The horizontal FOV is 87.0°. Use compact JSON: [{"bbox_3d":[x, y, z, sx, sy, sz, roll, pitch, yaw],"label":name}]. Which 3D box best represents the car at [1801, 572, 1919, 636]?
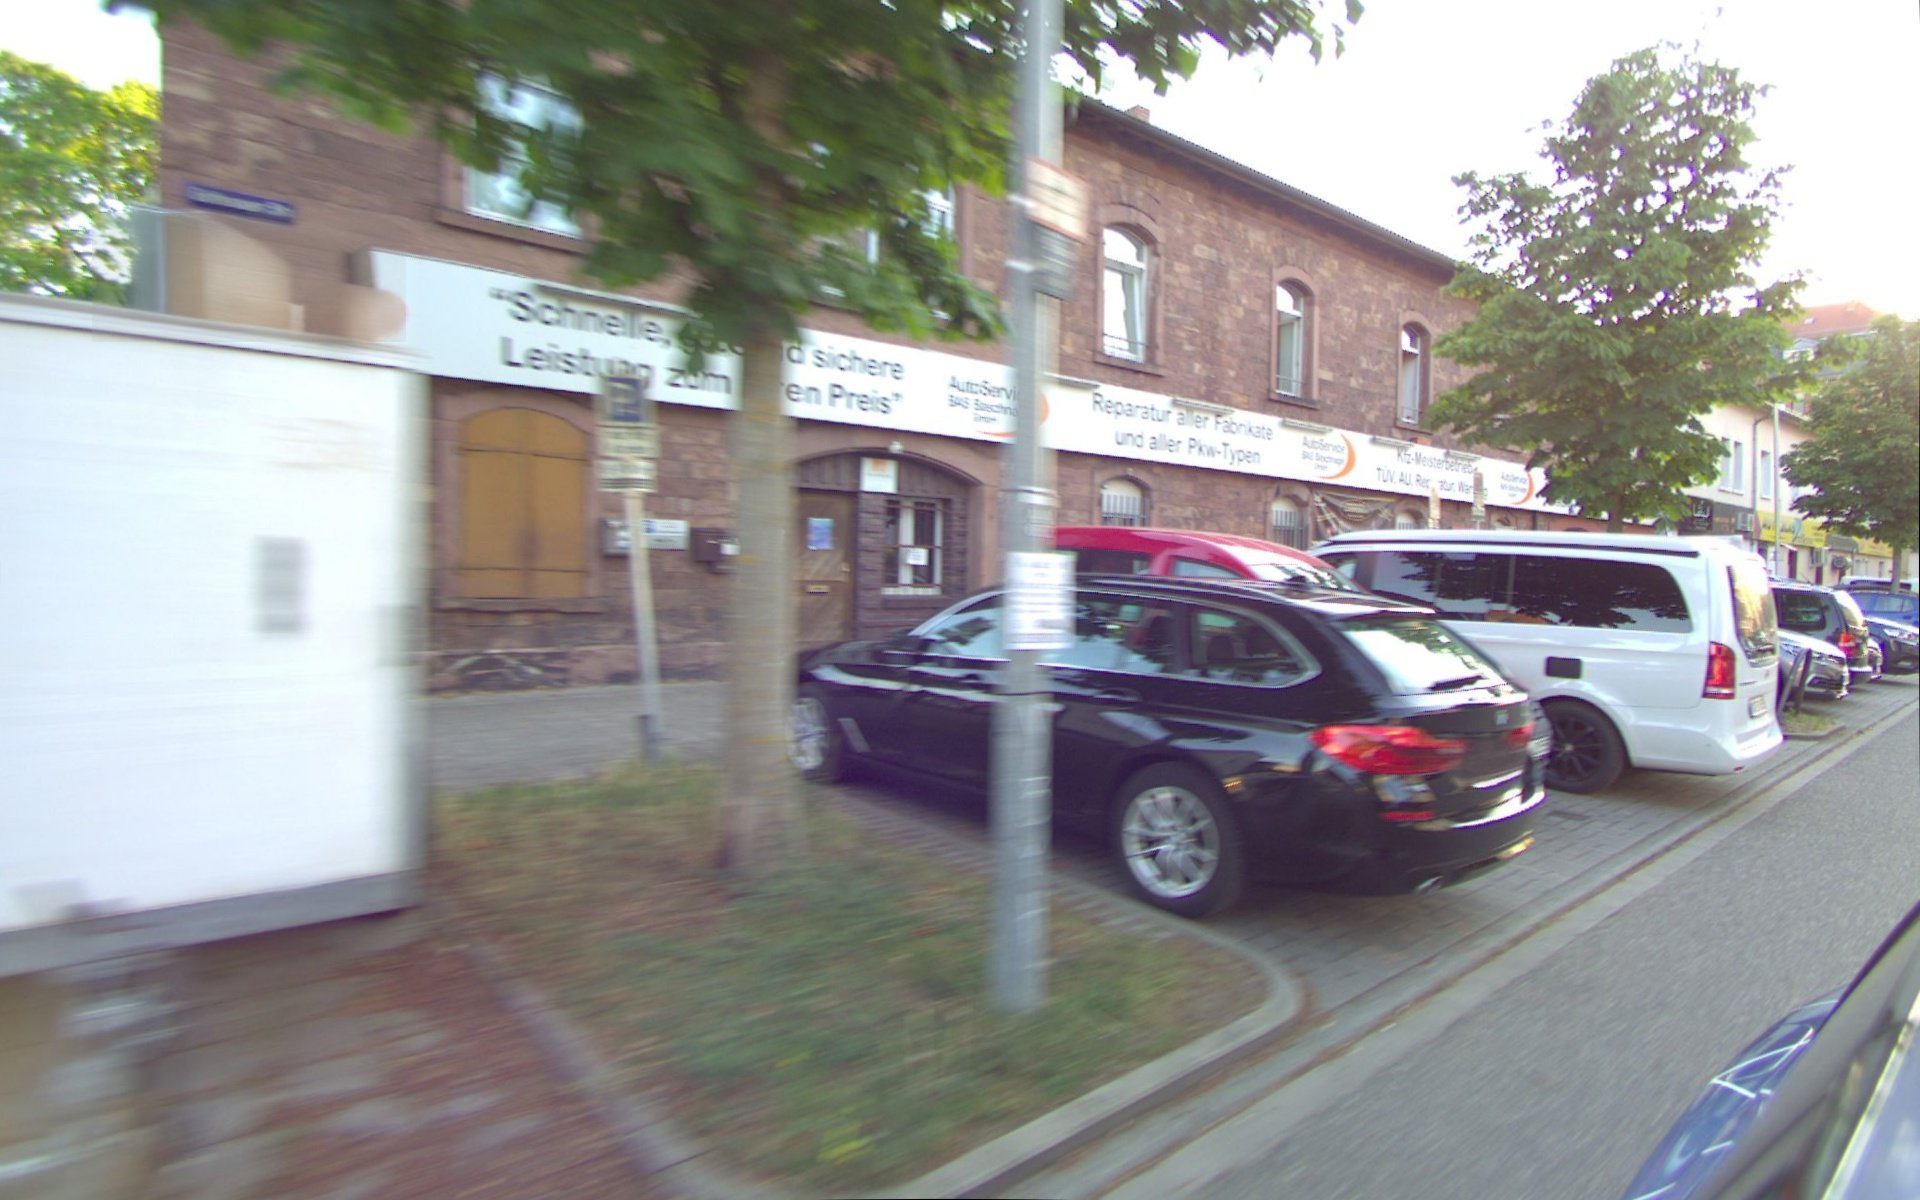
[{"bbox_3d":[28.581,0.185,30.372,1.963,1.650,4.712,0,5,-37],"label":"car"}]

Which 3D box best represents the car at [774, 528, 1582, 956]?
[{"bbox_3d":[0.806,0.437,5.851,1.742,1.517,4.436,0,2,-40],"label":"car"}]

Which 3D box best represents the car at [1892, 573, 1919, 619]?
[{"bbox_3d":[41.681,-0.051,41.790,1.962,1.880,4.308,0,4,-35],"label":"car"}]

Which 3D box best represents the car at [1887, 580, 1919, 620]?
[{"bbox_3d":[39.831,0.112,39.785,1.964,1.514,4.735,0,4,-39],"label":"car"}]

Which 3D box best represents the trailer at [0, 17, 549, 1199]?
[{"bbox_3d":[-2.880,0.110,3.164,1.963,2.215,3.998,0,2,-38],"label":"trailer"}]

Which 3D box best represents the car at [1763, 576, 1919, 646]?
[{"bbox_3d":[24.811,0.277,27.743,1.812,1.564,3.999,0,6,-39],"label":"car"}]

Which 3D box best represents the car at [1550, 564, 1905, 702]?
[{"bbox_3d":[11.676,0.379,15.612,1.862,1.638,3.996,0,5,-41],"label":"car"}]

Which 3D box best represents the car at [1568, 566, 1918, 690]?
[{"bbox_3d":[13.405,0.368,17.560,1.947,1.593,4.425,1,5,-41],"label":"car"}]

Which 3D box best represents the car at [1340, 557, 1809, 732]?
[{"bbox_3d":[6.419,0.328,10.949,1.745,1.528,3.995,0,2,-40],"label":"car"}]

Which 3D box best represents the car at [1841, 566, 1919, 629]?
[{"bbox_3d":[32.502,0.033,33.517,1.975,1.883,4.605,0,7,-37],"label":"car"}]

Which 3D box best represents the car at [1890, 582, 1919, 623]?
[{"bbox_3d":[37.942,0.205,38.282,1.651,1.514,3.795,0,4,-40],"label":"car"}]

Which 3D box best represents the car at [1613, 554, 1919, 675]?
[{"bbox_3d":[15.546,0.187,19.254,1.982,1.774,4.799,1,4,-40],"label":"car"}]

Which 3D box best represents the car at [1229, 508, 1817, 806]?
[{"bbox_3d":[4.586,0.306,8.705,1.965,1.927,3.994,0,2,-41],"label":"car"}]

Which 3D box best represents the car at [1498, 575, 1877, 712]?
[{"bbox_3d":[9.860,0.461,13.948,1.789,1.584,3.952,-1,2,-42],"label":"car"}]

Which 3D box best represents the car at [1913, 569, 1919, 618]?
[{"bbox_3d":[44.143,-0.240,42.988,2.110,2.127,4.978,-1,2,-34],"label":"car"}]

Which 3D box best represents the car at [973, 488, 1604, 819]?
[{"bbox_3d":[2.212,0.232,7.828,1.871,1.821,4.310,0,2,-40],"label":"car"}]
